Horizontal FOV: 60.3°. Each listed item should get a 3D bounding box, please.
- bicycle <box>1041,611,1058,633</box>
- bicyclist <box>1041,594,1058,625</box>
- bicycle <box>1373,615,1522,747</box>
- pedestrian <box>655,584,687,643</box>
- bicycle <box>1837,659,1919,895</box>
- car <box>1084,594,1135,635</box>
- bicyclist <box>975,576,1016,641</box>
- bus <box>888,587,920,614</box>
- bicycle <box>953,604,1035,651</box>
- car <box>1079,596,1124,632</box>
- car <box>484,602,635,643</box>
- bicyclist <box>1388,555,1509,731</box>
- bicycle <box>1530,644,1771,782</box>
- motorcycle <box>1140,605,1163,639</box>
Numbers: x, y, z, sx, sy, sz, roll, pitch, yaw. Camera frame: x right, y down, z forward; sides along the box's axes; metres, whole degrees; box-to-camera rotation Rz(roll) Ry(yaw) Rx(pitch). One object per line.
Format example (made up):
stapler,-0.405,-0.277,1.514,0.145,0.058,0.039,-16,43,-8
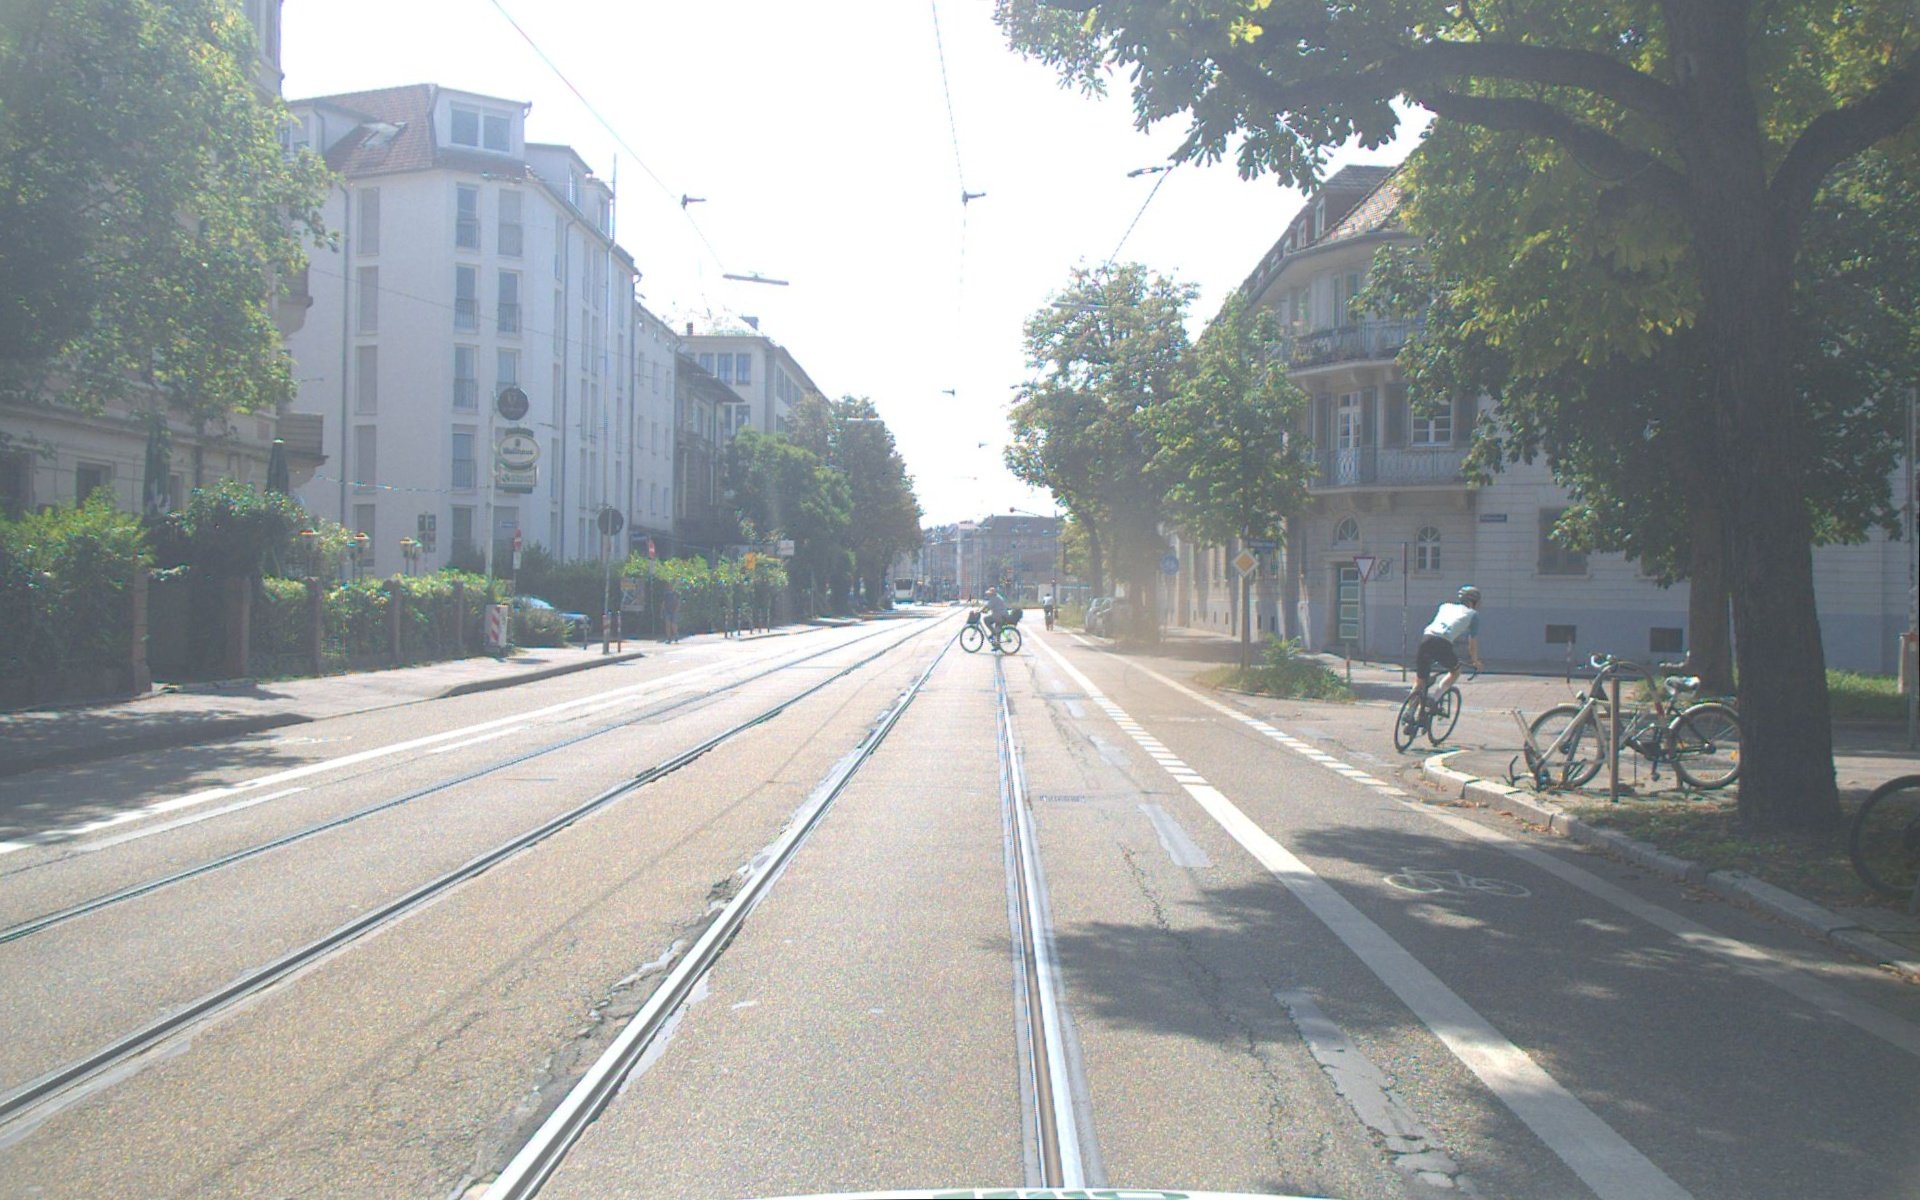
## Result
bicycle,4.079,0.998,75.498,0.743,1.008,2.299,0,0,3
bicyclist,4.075,0.441,75.367,0.743,1.416,0.779,0,0,3
bicycle,5.436,0.837,18.289,1.125,1.291,2.709,0,0,26
pedestrian,-8.757,0.400,50.210,0.763,1.787,1.040,0,0,1
bicycle,5.384,0.890,8.328,1.686,1.156,0.377,0,0,7
car,5.556,0.543,61.812,1.551,1.490,3.414,1,-1,-1
bicyclist,0.936,0.221,43.310,0.807,1.671,0.785,1,0,23
bus,-7.441,0.125,221.226,3.658,3.423,15.119,1,0,1
bicycle,0.878,0.709,43.338,1.994,1.171,0.785,1,0,24
car,5.923,0.601,69.363,1.551,1.490,3.466,1,-1,-1
car,-12.360,0.703,51.041,4.143,1.205,2.000,-1,-1,21
bicyclist,5.391,0.452,18.236,1.103,1.869,0.954,0,0,28
bicycle,5.489,0.887,13.201,1.677,1.050,0.566,0,0,2
motorcycle,6.367,0.728,55.007,0.537,1.086,2.331,0,0,1
